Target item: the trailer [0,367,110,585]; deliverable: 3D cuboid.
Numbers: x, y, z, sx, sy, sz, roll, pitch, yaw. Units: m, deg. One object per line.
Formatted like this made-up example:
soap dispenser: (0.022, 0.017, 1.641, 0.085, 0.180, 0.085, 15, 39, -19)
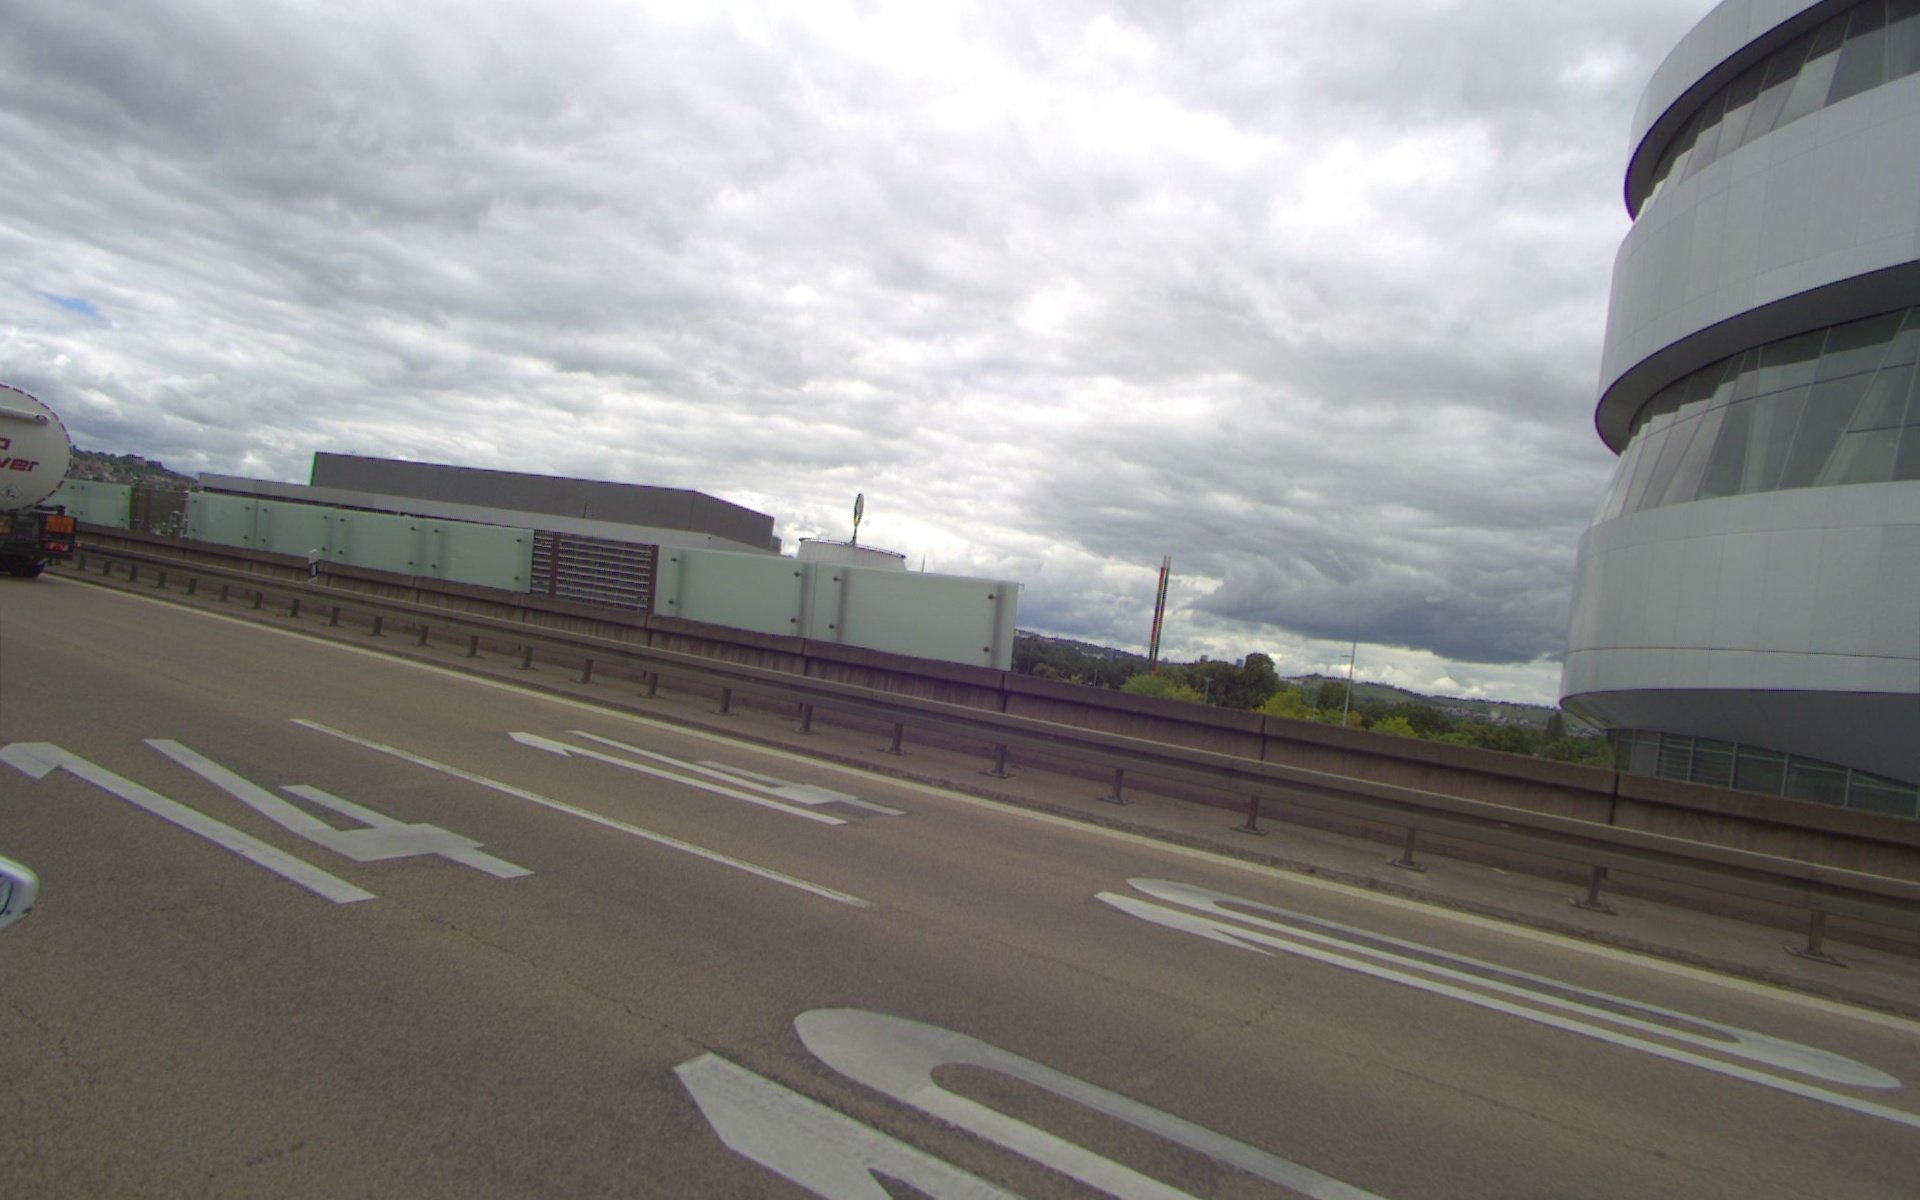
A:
trailer: (-21.301, -2.702, 20.093, 11.029, 3.584, 2.656, 6, -2, 30)
